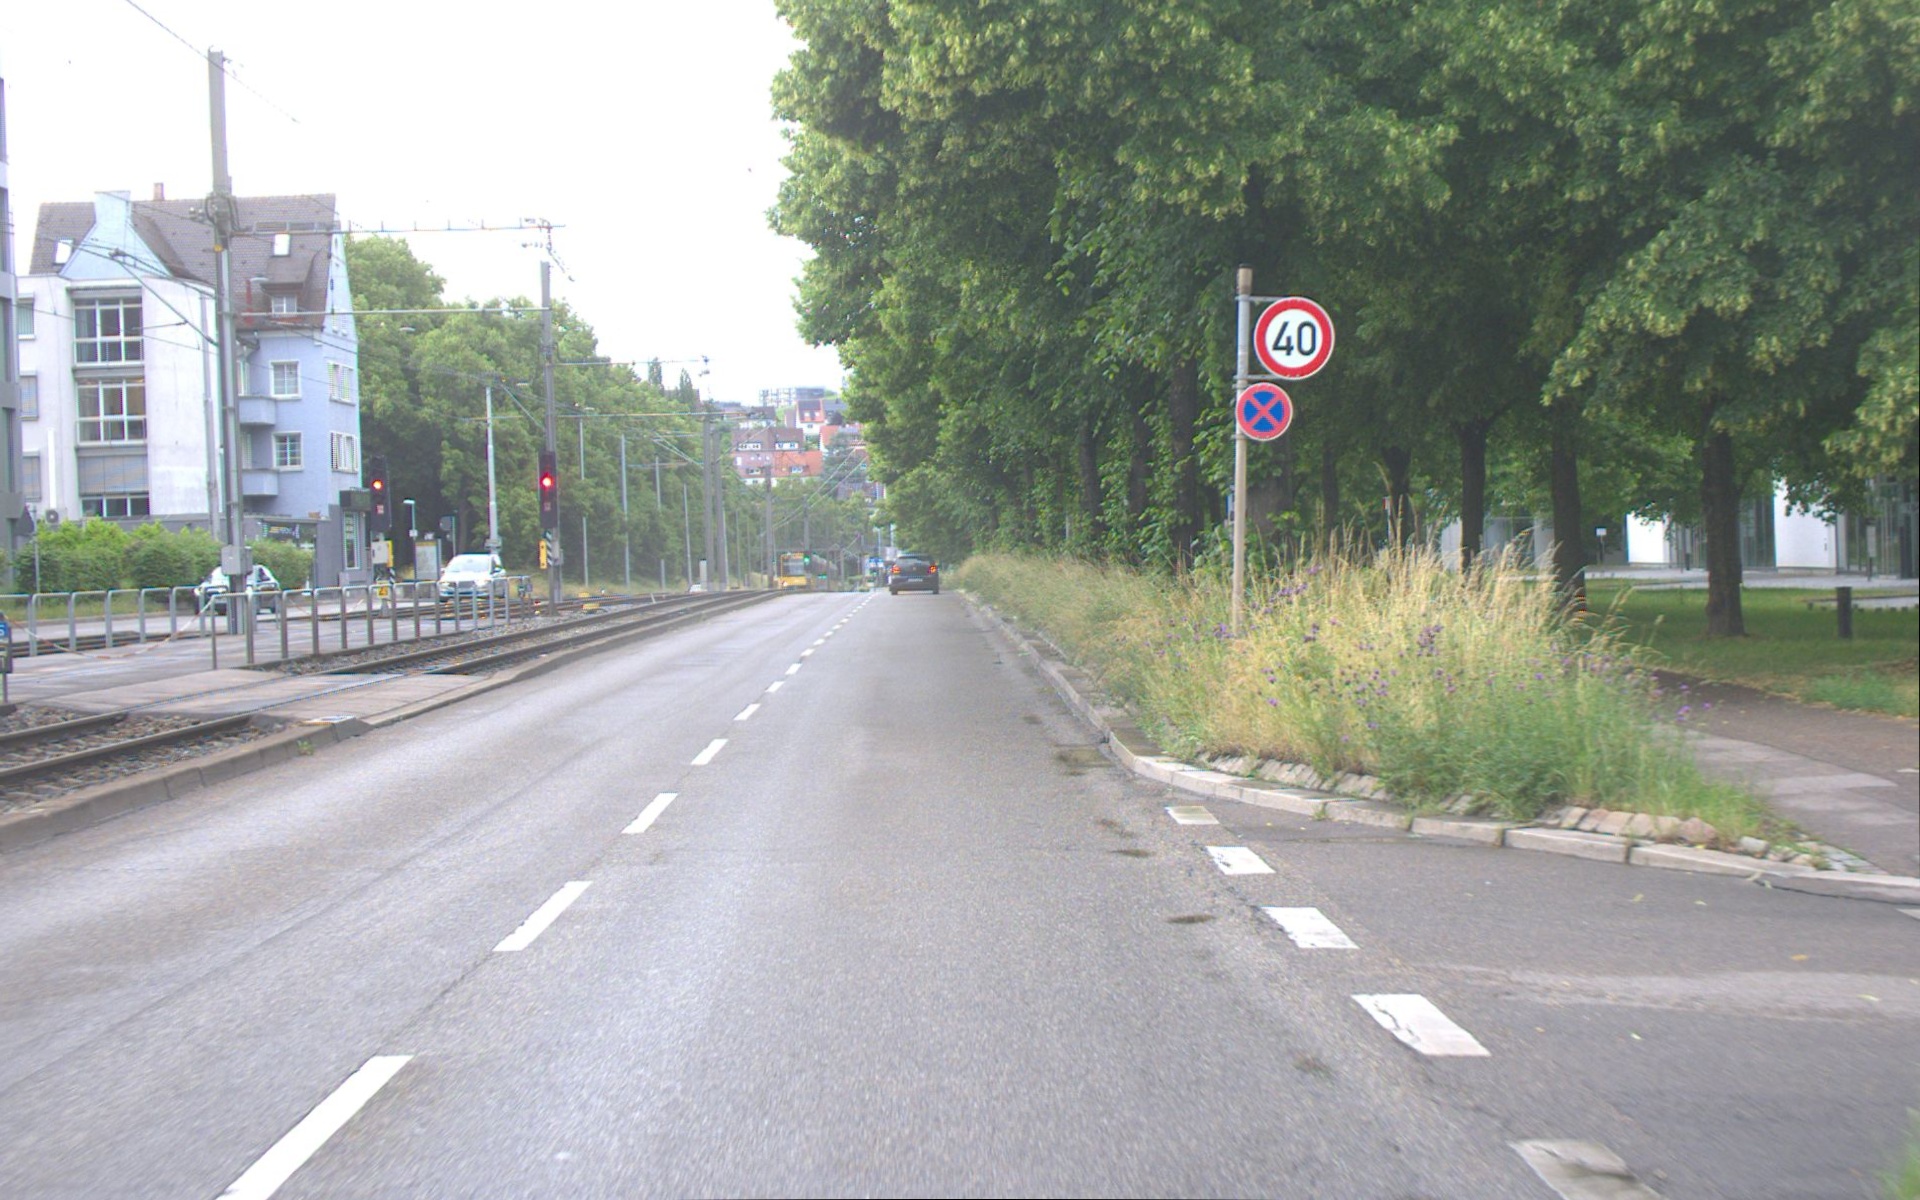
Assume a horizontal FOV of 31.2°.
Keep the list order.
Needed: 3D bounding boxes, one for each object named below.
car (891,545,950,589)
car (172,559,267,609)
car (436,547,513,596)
[{"bbox_3d":[-1.385,-1.152,120.116,1.982,1.436,4.474,-2,1,0],"label":"car"},{"bbox_3d":[-21.182,-0.469,98.452,1.798,1.342,4.259,-2,1,0],"label":"car"},{"bbox_3d":[-17.007,-0.999,120.645,1.902,1.639,4.884,-2,1,1],"label":"car"}]
